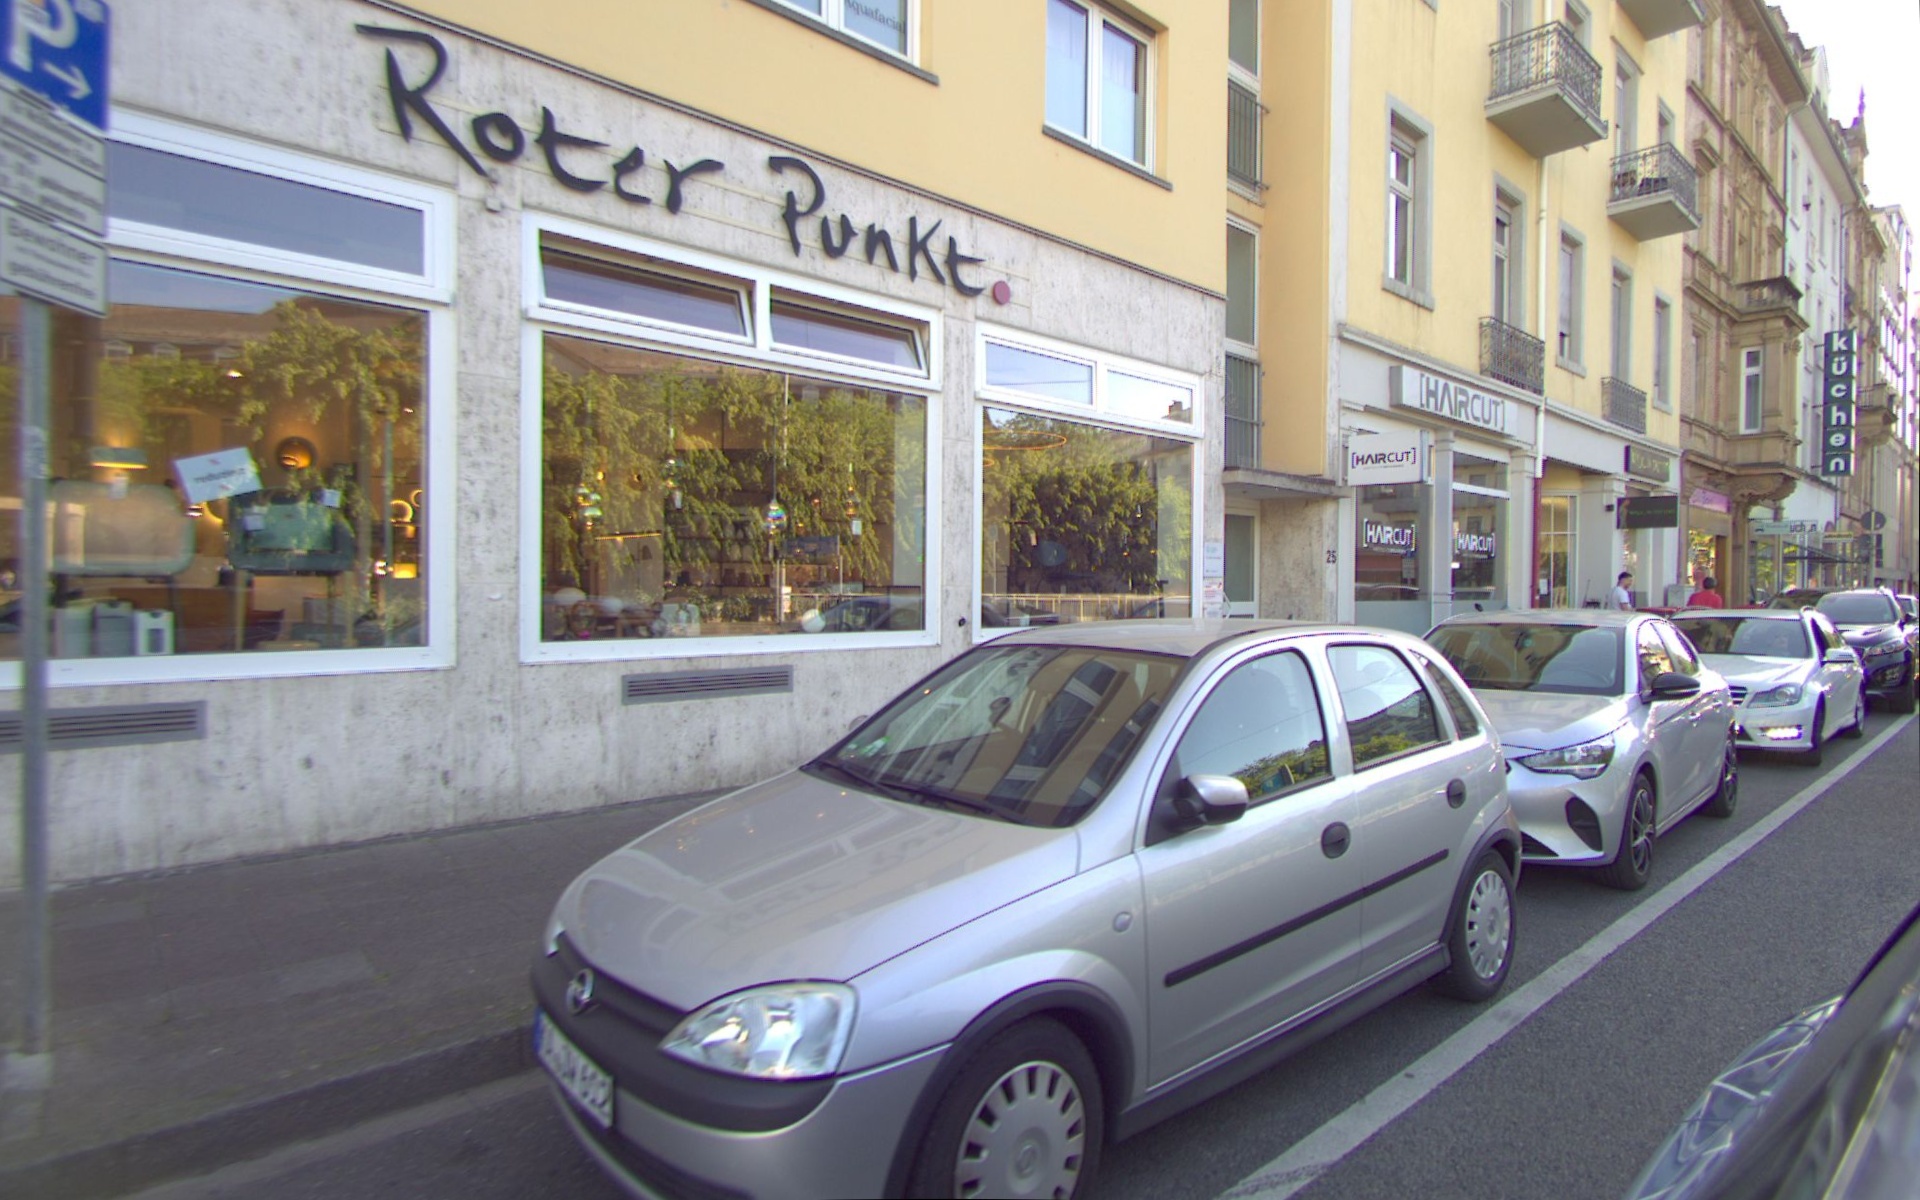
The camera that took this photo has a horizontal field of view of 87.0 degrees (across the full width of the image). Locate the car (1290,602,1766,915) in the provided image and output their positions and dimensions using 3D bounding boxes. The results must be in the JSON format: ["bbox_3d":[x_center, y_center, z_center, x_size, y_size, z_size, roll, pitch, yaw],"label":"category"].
[{"bbox_3d":[3.844,0.746,6.593,3.642,1.415,1.652,0,1,-42],"label":"car"}]

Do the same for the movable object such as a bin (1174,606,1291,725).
[{"bbox_3d":[2.660,0.608,9.879,0.878,1.067,0.752,0,1,-41],"label":"movable object such as a bin"}]

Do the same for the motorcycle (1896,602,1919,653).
[{"bbox_3d":[24.111,0.670,24.854,1.514,1.248,0.771,0,0,1],"label":"motorcycle"}]

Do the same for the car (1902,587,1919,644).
[{"bbox_3d":[26.965,0.398,27.476,3.932,1.505,1.713,0,1,-42],"label":"car"}]

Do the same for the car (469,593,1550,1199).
[{"bbox_3d":[0.452,0.693,3.477,3.578,1.399,1.616,0,-1,-40],"label":"car"}]

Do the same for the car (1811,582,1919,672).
[{"bbox_3d":[17.670,0.463,19.355,2.965,1.588,1.695,0,1,-41],"label":"car"}]

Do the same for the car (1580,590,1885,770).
[{"bbox_3d":[8.171,0.640,10.535,4.520,1.480,1.756,0,1,-42],"label":"car"}]

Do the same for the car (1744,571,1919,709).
[{"bbox_3d":[12.962,0.468,14.792,1.853,1.719,4.623,1,1,45],"label":"car"}]

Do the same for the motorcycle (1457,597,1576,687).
[{"bbox_3d":[8.172,0.566,14.814,2.208,1.179,0.773,0,3,-41],"label":"motorcycle"}]

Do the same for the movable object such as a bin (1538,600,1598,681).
[{"bbox_3d":[9.485,0.609,15.791,0.633,1.223,0.647,0,0,-41],"label":"movable object such as a bin"}]

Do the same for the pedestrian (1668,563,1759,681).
[{"bbox_3d":[12.272,0.319,16.480,0.991,1.805,0.866,-1,5,-40],"label":"pedestrian"}]

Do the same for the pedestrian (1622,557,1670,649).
[{"bbox_3d":[12.502,0.043,18.445,0.631,1.637,0.572,0,0,-40],"label":"pedestrian"}]

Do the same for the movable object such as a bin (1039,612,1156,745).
[{"bbox_3d":[1.169,0.637,8.652,0.591,1.041,0.812,0,1,-40],"label":"movable object such as a bin"}]

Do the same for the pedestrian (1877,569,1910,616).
[{"bbox_3d":[33.066,-0.260,35.853,0.750,1.637,0.794,0,0,-43],"label":"pedestrian"}]

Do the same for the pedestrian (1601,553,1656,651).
[{"bbox_3d":[11.456,0.028,17.352,0.689,1.637,0.641,0,0,-42],"label":"pedestrian"}]

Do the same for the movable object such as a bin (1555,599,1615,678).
[{"bbox_3d":[9.994,0.600,16.182,0.633,1.223,0.647,0,0,-41],"label":"movable object such as a bin"}]
